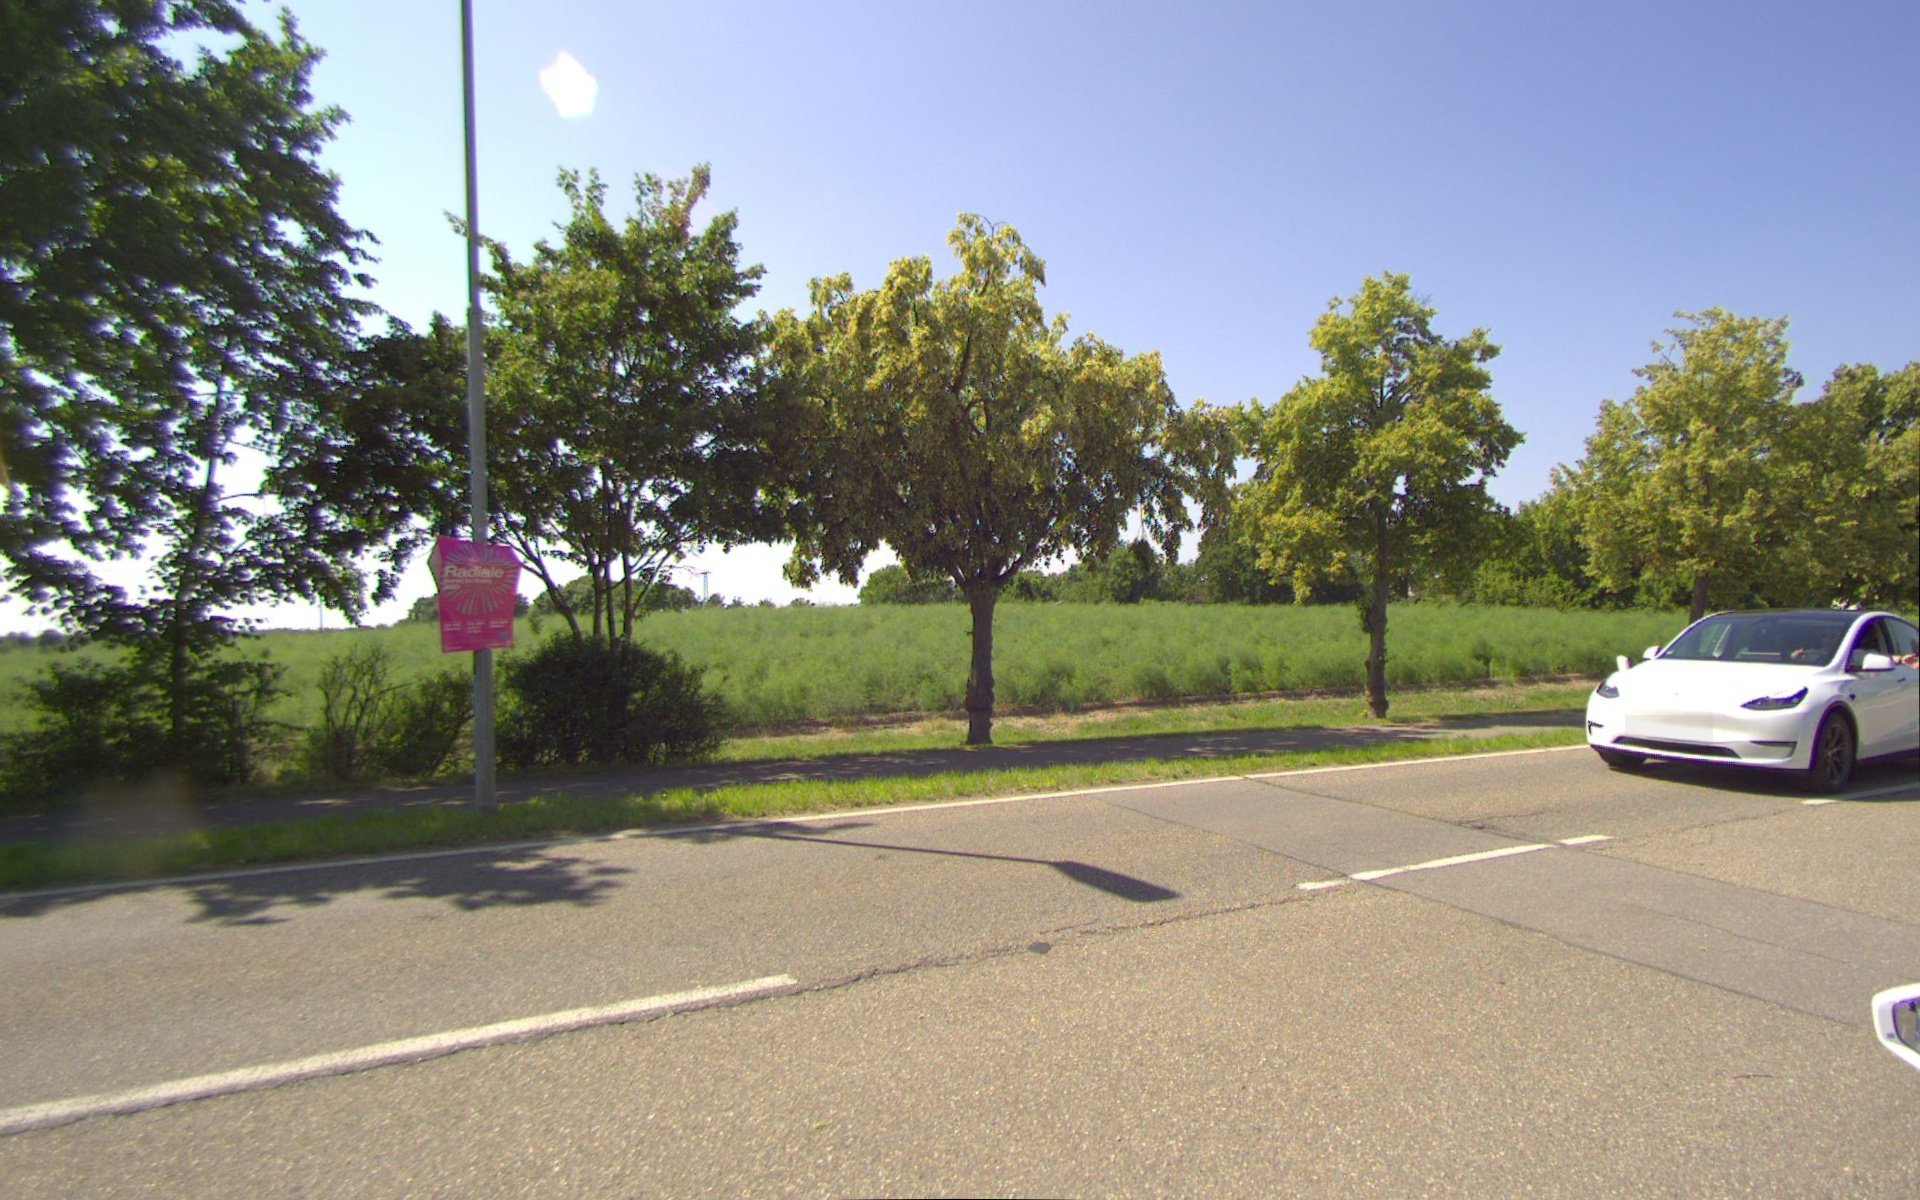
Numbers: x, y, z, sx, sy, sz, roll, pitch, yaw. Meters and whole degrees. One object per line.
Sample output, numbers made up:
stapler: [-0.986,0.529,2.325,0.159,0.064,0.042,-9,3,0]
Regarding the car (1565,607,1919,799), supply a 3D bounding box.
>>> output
car: [8.422,0.890,10.280,4.416,1.593,1.868,1,0,-29]
